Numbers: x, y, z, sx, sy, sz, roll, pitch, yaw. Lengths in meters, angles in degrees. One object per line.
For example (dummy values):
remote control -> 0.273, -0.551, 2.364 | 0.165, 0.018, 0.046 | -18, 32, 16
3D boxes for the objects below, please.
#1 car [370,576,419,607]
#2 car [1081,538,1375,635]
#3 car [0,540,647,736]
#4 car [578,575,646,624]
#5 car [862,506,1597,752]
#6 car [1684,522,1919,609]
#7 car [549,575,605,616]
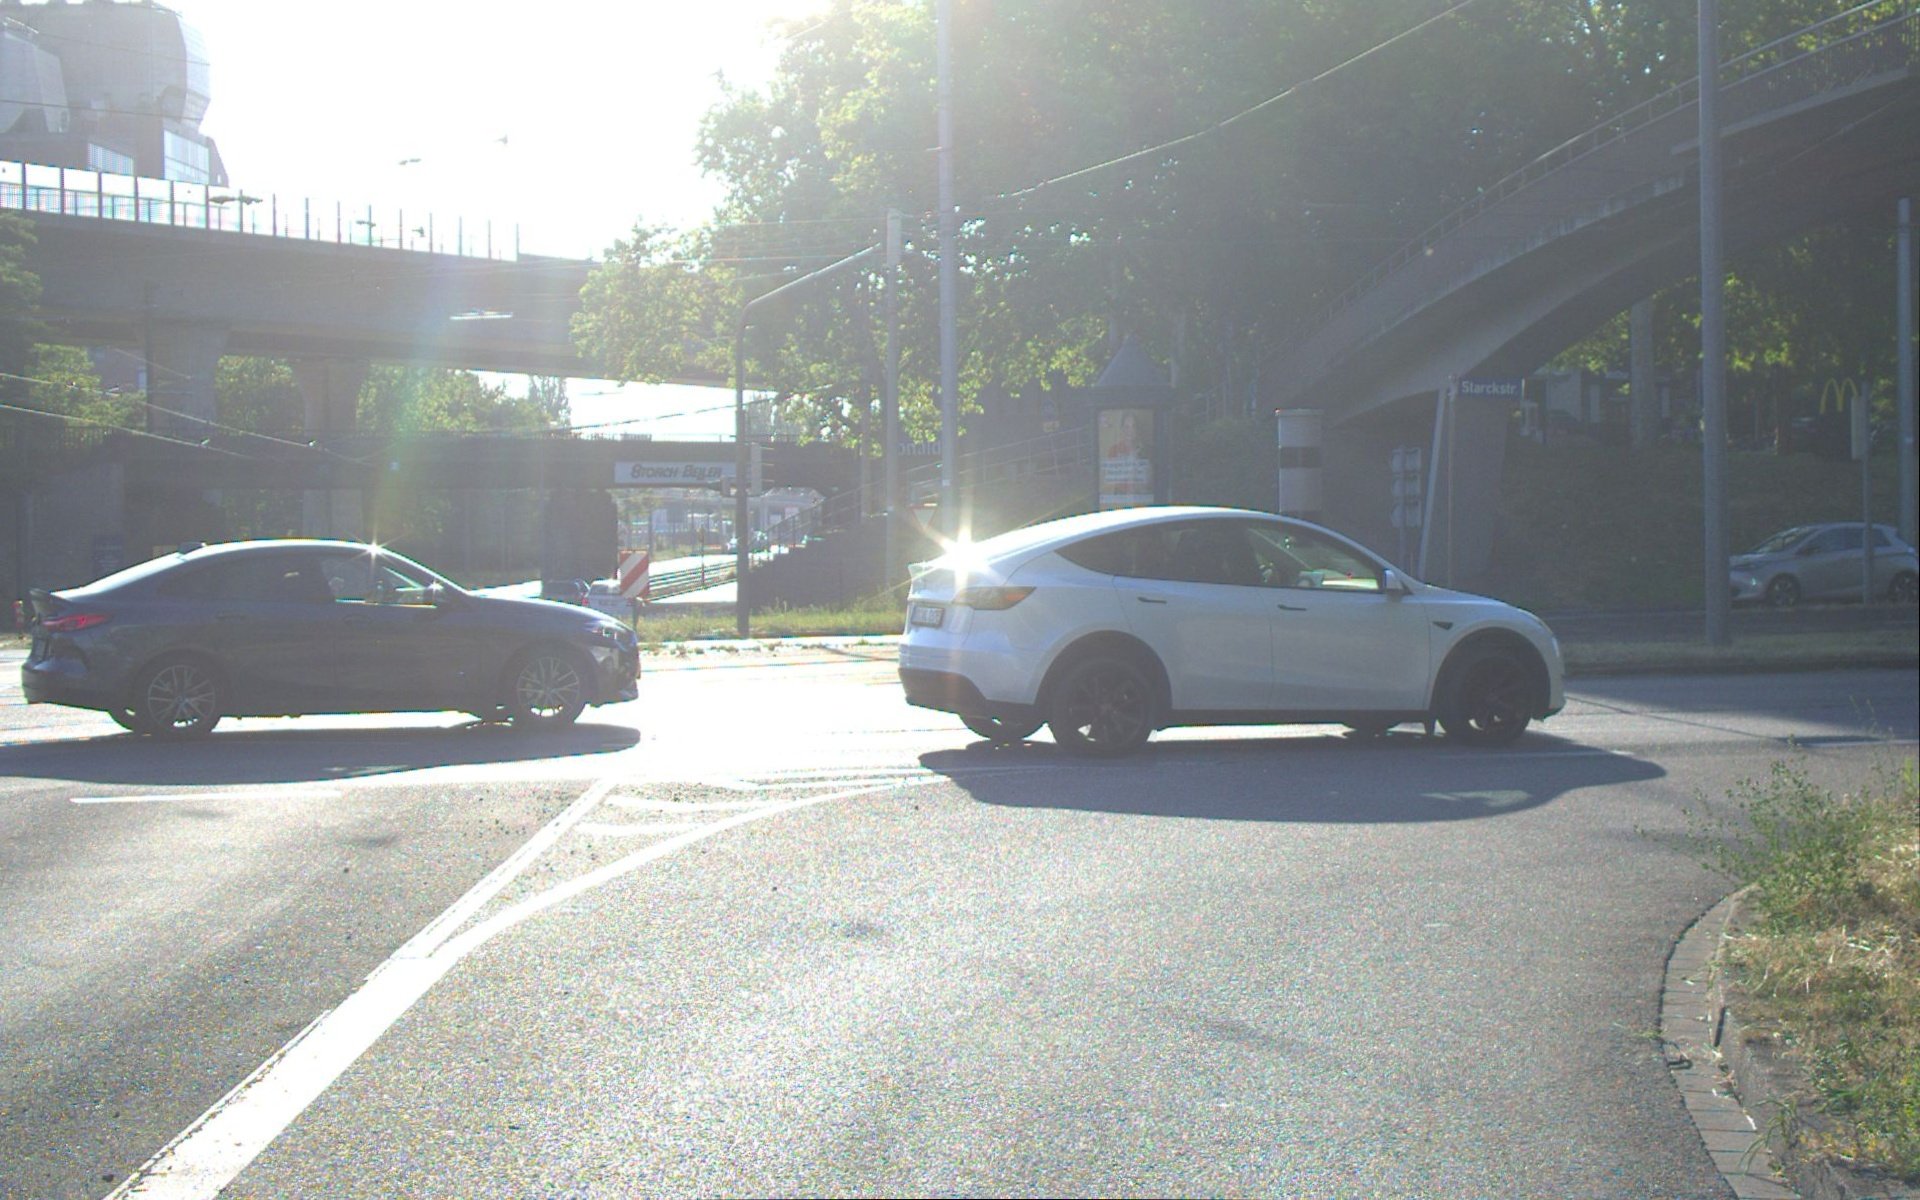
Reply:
car -> -27.071, -0.421, 164.726 | 1.606, 1.414, 4.008 | 0, 1, 1
car -> 4.453, -0.222, 57.219 | 4.574, 1.569, 1.694 | 0, 1, -17
car -> -4.708, 0.255, 25.410 | 4.475, 1.364, 1.694 | 0, 1, -20
car -> -10.476, -0.041, 103.623 | 1.665, 1.400, 4.197 | 0, 1, -1
car -> 1.852, 0.173, 23.564 | 4.750, 1.569, 1.694 | 0, 1, -21
car -> 15.080, -0.615, 61.177 | 3.993, 1.507, 1.694 | 0, 1, -19
car -> -13.815, -0.183, 124.139 | 1.665, 1.400, 4.445 | 0, 1, -2
